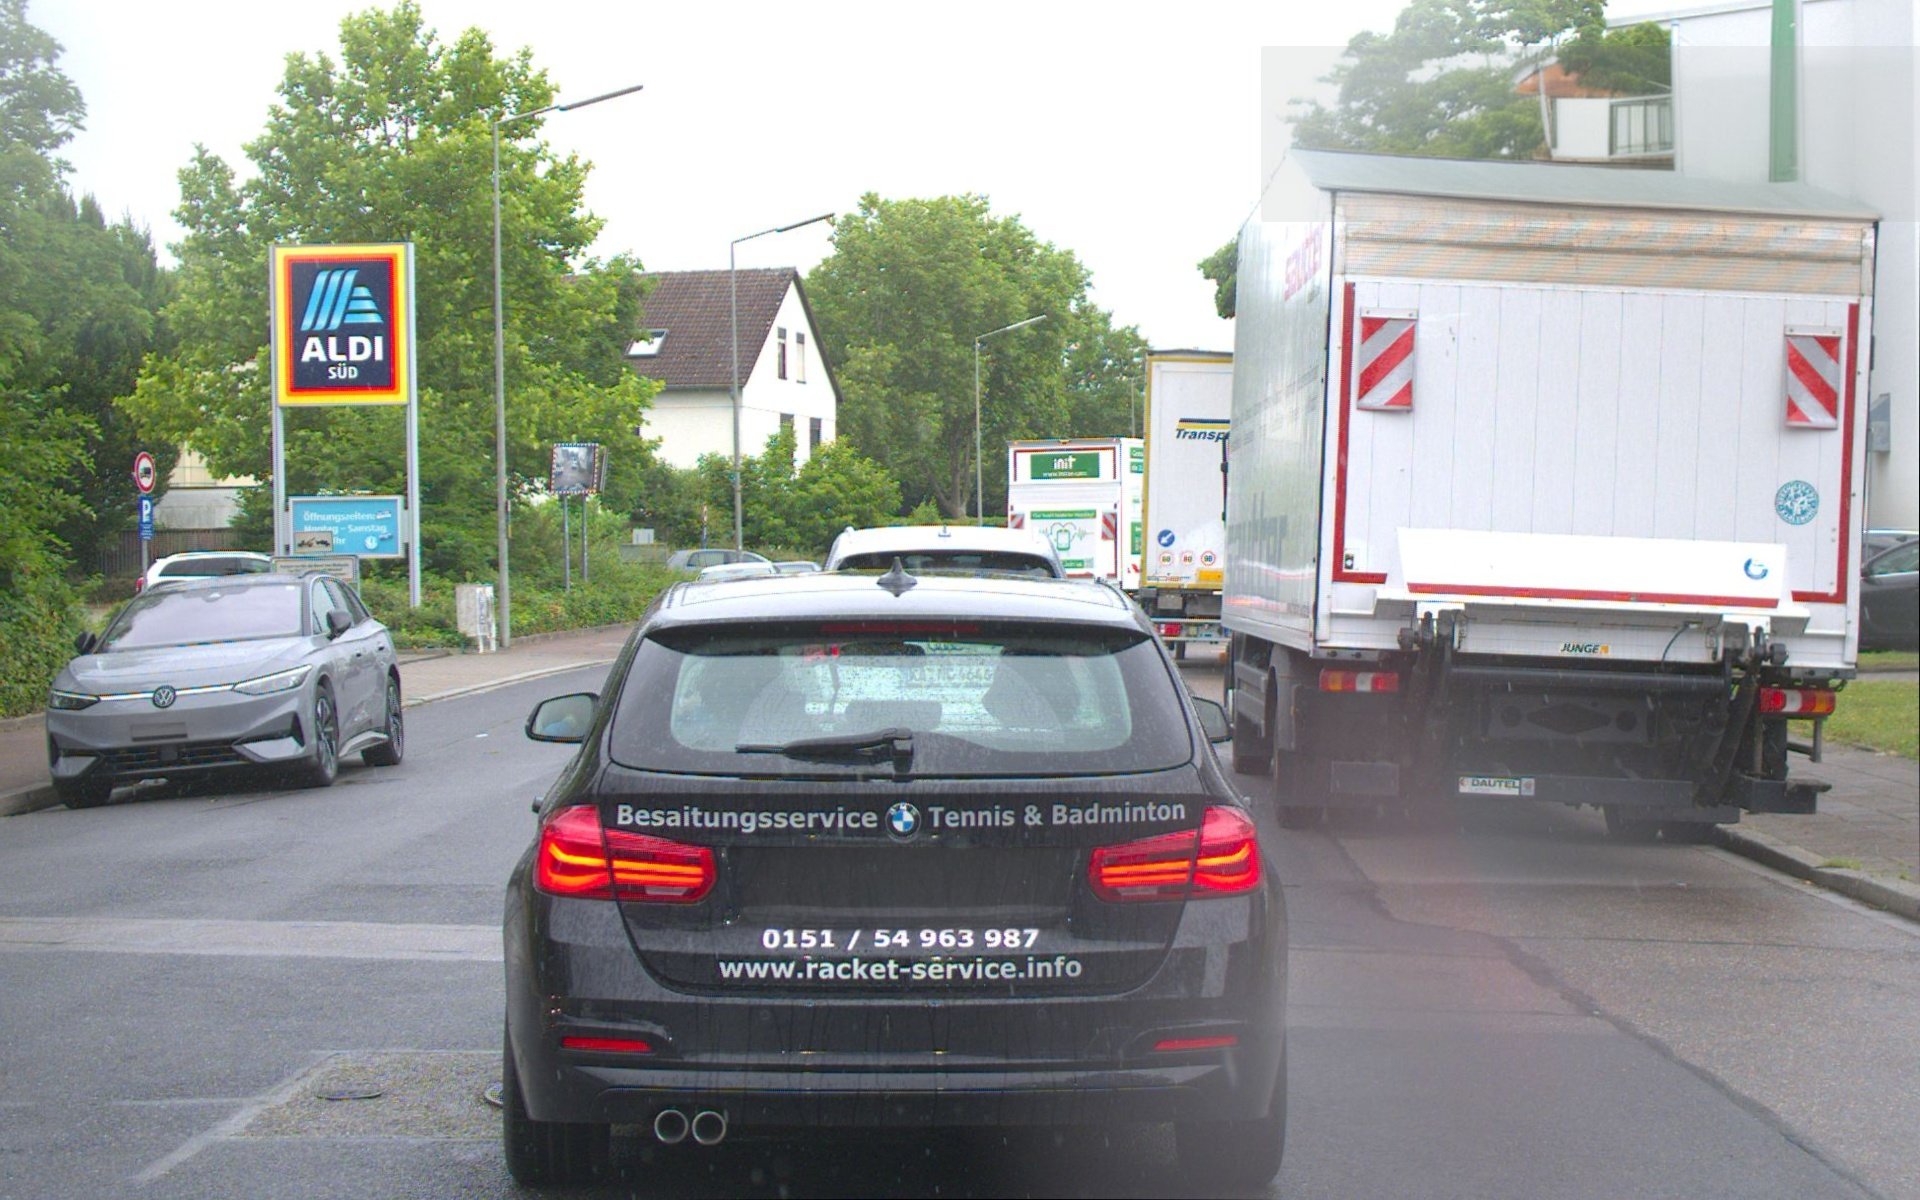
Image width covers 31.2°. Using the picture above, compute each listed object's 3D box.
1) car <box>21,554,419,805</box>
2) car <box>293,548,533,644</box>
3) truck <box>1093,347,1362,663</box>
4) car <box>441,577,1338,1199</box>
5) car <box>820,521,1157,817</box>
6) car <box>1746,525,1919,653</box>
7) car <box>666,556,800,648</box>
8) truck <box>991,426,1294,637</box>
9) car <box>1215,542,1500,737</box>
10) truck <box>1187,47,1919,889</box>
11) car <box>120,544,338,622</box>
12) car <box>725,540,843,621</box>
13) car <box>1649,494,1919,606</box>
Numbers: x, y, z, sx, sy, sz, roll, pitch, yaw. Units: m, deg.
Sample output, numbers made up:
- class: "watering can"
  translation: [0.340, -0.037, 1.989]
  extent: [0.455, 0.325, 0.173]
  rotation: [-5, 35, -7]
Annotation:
- class: "car"
  translation: [-5.263, 0.495, 25.089]
  extent: [1.809, 1.523, 4.748]
  rotation: [-4, 1, 0]
- class: "car"
  translation: [-8.892, -0.080, 56.033]
  extent: [3.570, 1.455, 1.712]
  rotation: [1, 1, 2]
- class: "truck"
  translation: [3.265, -1.172, 43.921]
  extent: [2.741, 3.598, 7.750]
  rotation: [2, 1, 0]
- class: "car"
  translation: [-0.193, 0.647, 8.936]
  extent: [1.804, 1.390, 4.000]
  rotation: [0, 1, -1]
- class: "car"
  translation: [0.101, 0.352, 20.429]
  extent: [1.804, 1.581, 4.000]
  rotation: [0, 1, -1]
- class: "car"
  translation: [11.671, -0.149, 39.865]
  extent: [4.671, 1.463, 1.787]
  rotation: [0, 1, 39]
- class: "car"
  translation: [-3.791, 0.003, 58.100]
  extent: [1.705, 1.362, 4.601]
  rotation: [-3, 1, 2]
- class: "truck"
  translation: [3.226, -1.249, 58.386]
  extent: [2.344, 3.245, 7.740]
  rotation: [4, 4, 24]
- class: "car"
  translation: [3.136, 0.258, 27.924]
  extent: [1.797, 1.436, 4.345]
  rotation: [-1, 1, 0]
- class: "truck"
  translation: [3.035, -0.685, 20.447]
  extent: [2.741, 3.776, 9.299]
  rotation: [2, 1, 1]
- class: "car"
  translation: [-14.834, -0.366, 69.935]
  extent: [3.987, 1.535, 1.910]
  rotation: [0, 1, 2]
- class: "car"
  translation: [-3.265, -0.389, 64.454]
  extent: [1.706, 1.362, 3.838]
  rotation: [-3, 1, 4]
- class: "car"
  translation: [16.136, -0.901, 63.291]
  extent: [6.452, 2.007, 2.000]
  rotation: [0, 0, -4]
